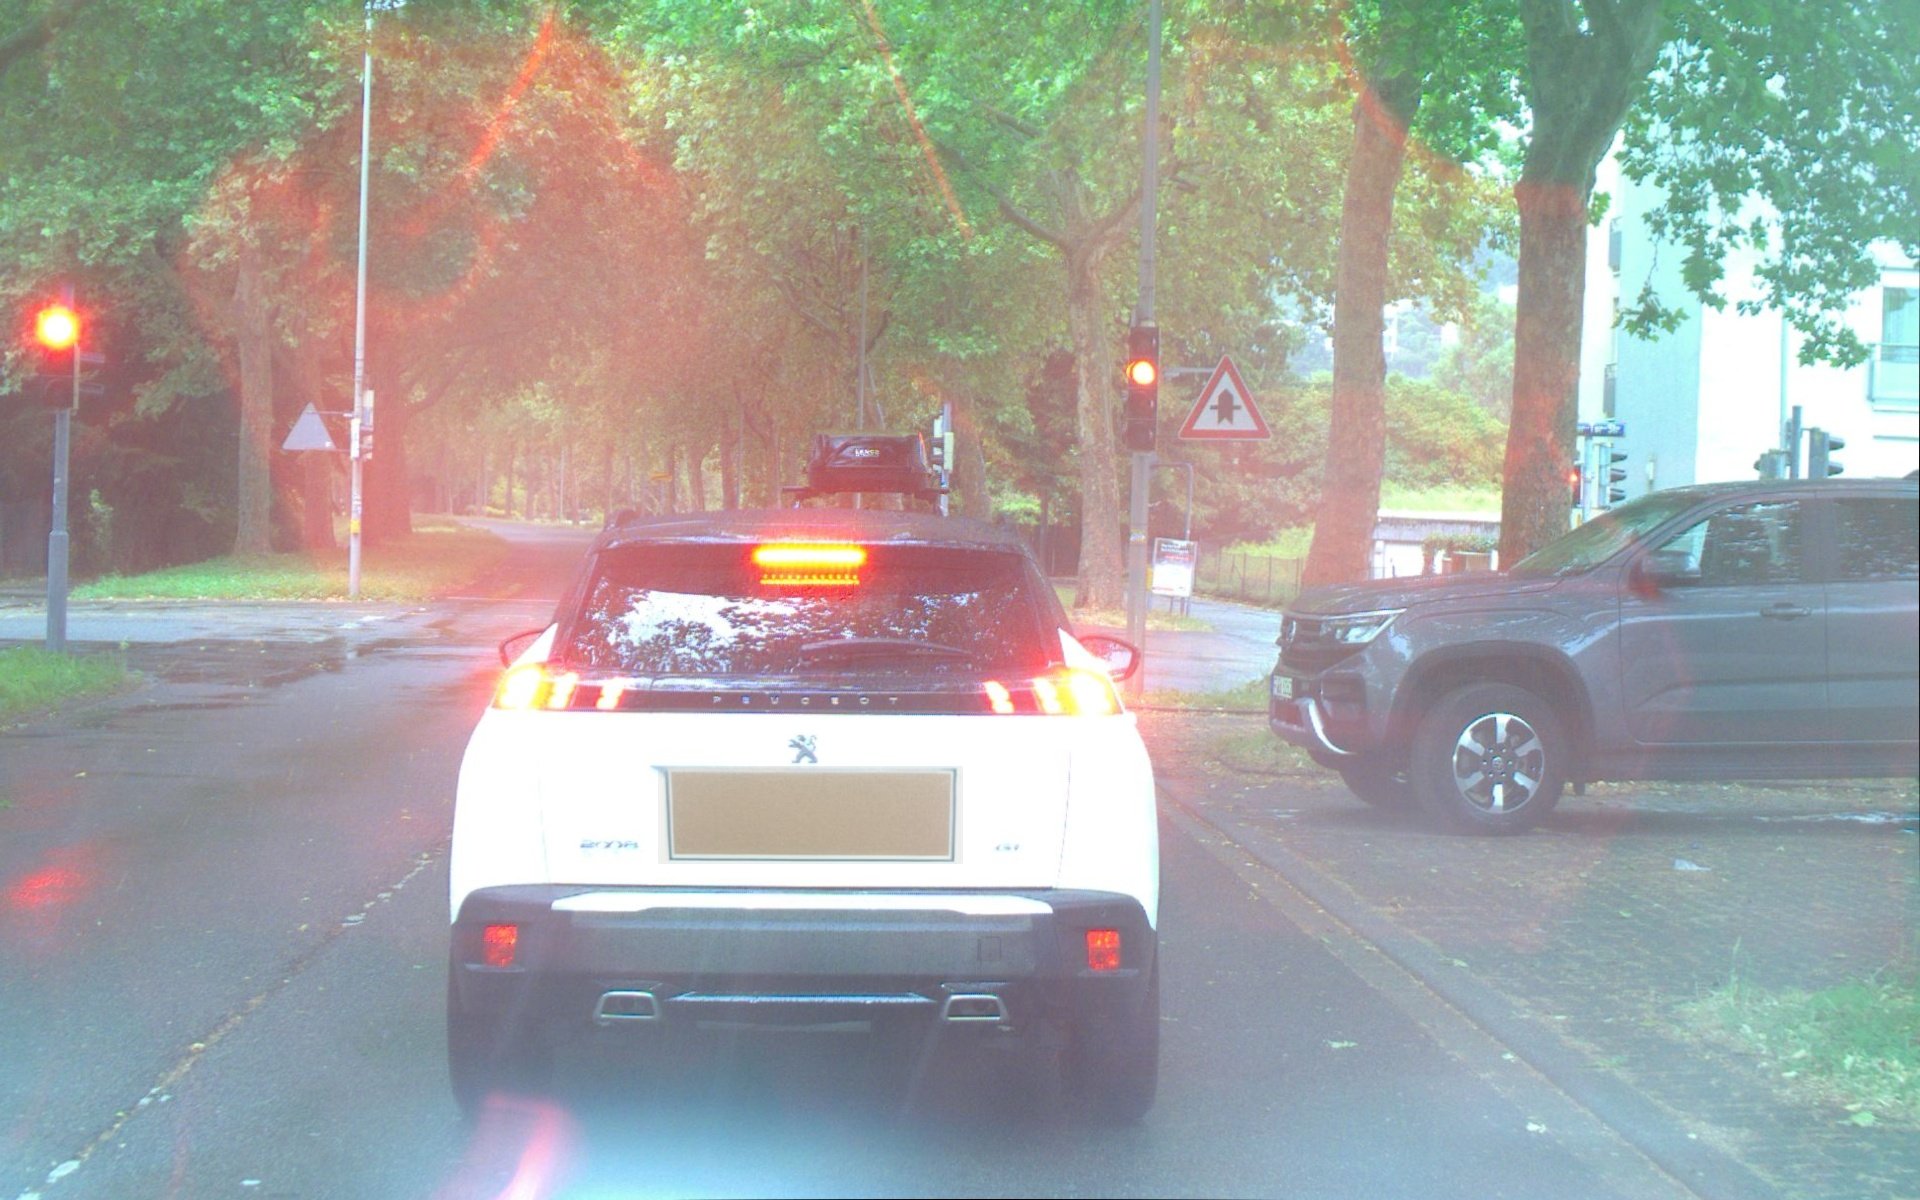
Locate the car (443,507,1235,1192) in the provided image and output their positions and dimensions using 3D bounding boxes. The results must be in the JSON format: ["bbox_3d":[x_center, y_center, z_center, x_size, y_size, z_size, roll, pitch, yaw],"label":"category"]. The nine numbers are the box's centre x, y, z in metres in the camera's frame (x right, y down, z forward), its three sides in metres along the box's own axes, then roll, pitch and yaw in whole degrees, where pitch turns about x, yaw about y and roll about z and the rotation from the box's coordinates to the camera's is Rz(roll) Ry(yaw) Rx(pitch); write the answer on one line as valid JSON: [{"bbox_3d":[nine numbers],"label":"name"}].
[{"bbox_3d":[-0.312,0.519,9.891,1.780,1.531,4.058,1,2,-1],"label":"car"}]

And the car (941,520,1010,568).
[{"bbox_3d":[0.491,-1.867,113.765,1.905,1.504,3.932,1,1,-5],"label":"car"}]

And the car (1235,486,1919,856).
[{"bbox_3d":[4.251,0.306,18.023,5.337,1.800,1.846,0,2,-7],"label":"car"}]
